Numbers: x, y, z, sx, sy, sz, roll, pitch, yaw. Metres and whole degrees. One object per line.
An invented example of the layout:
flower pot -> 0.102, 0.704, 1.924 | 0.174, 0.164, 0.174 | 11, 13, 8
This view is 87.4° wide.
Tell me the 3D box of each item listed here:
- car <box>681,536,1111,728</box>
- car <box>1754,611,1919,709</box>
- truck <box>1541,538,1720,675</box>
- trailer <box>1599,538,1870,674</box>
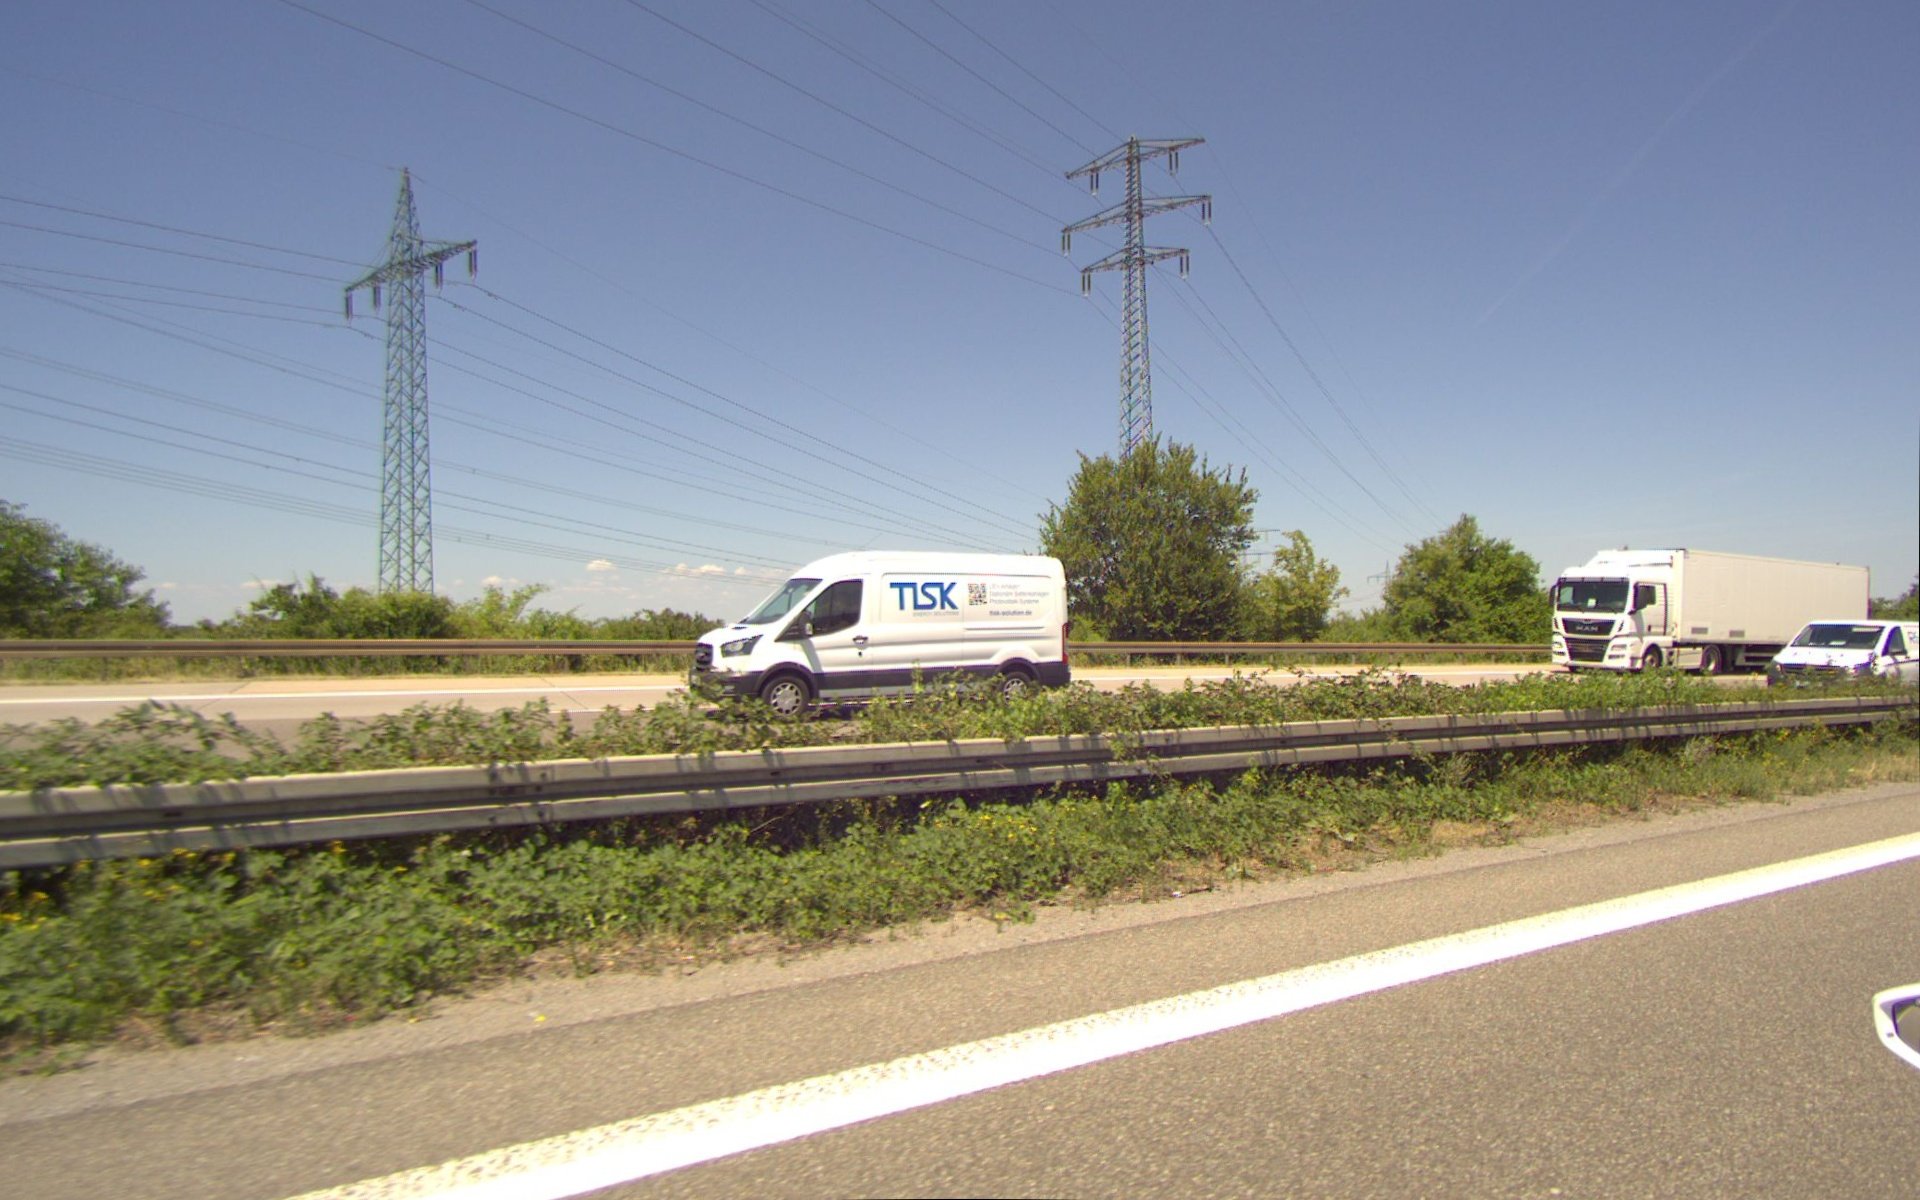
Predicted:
car -> -0.848, 0.494, 15.583 | 6.411, 2.504, 1.985 | 2, 0, -29
car -> 20.415, 1.250, 22.796 | 5.275, 1.965, 1.984 | 0, 0, -30
truck -> 21.853, 0.256, 32.724 | 5.104, 4.135, 2.818 | 2, 0, -30
trailer -> 28.417, 0.356, 36.473 | 13.474, 4.314, 2.822 | 2, 0, -30
